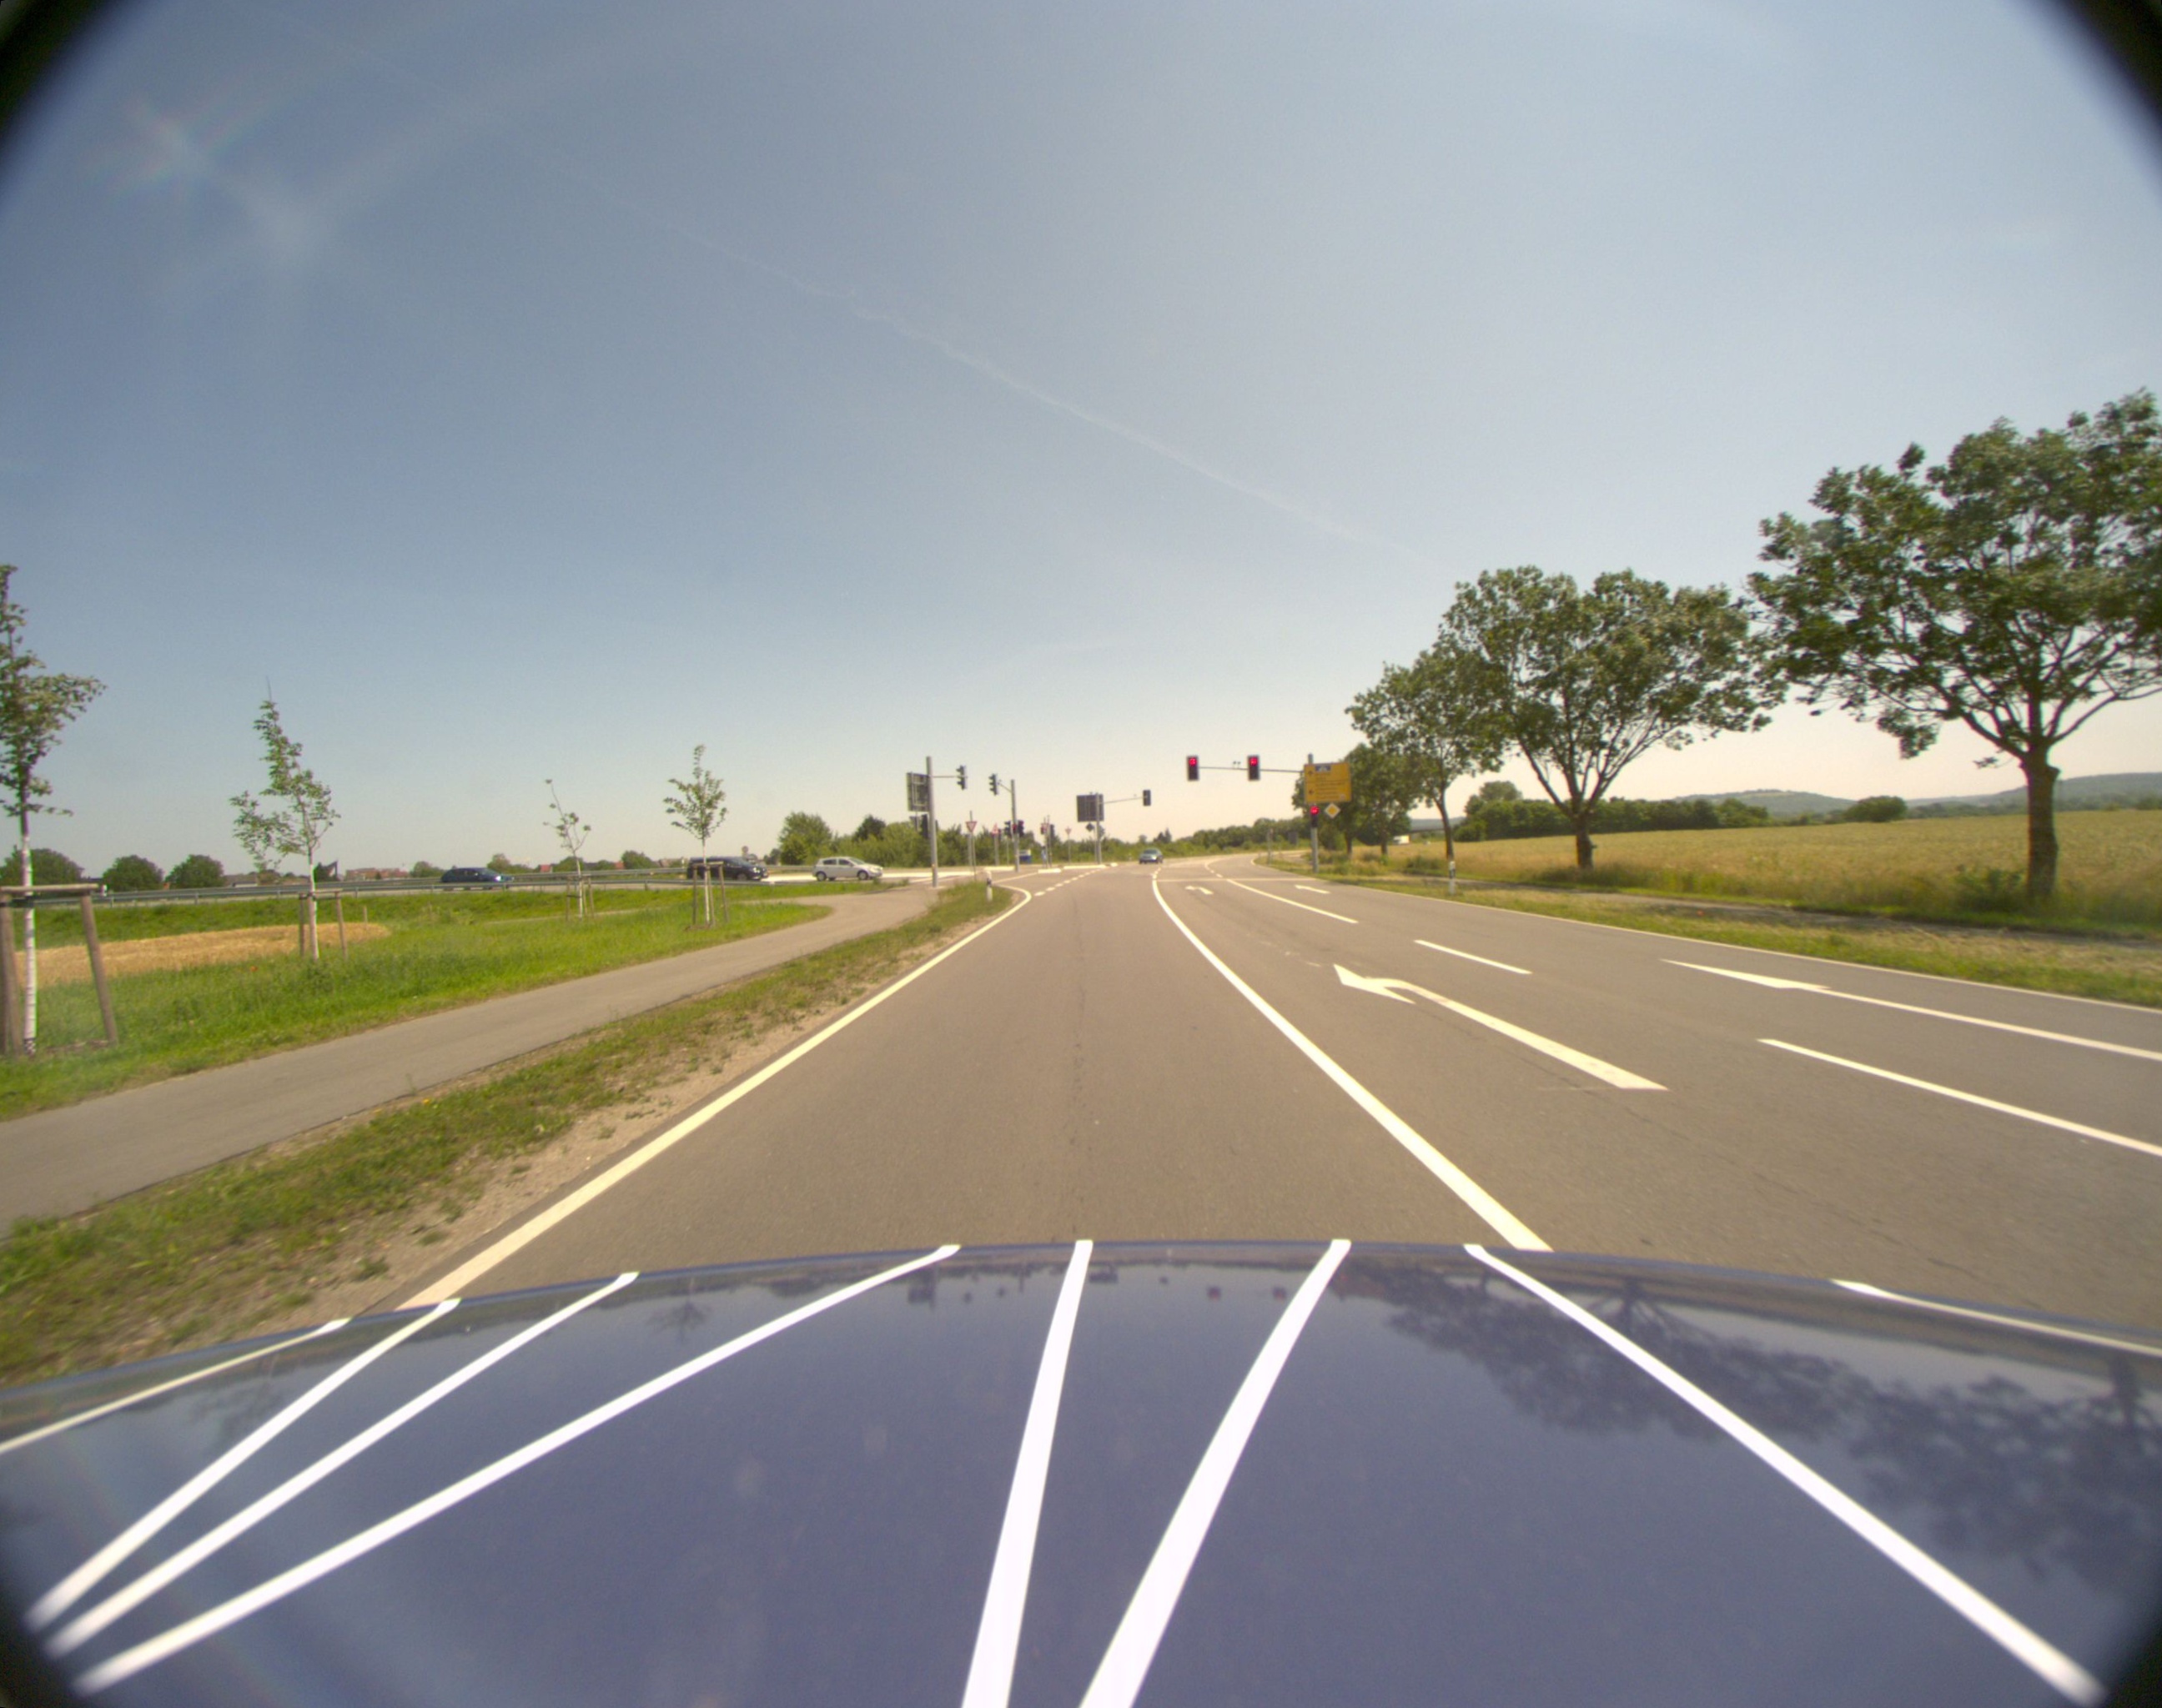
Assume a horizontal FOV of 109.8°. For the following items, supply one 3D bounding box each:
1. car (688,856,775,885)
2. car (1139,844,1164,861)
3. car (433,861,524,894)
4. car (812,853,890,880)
[{"bbox_3d":[-21.619,0.998,47.094,4.521,1.631,1.814,-1,2,6],"label":"car"},{"bbox_3d":[6.628,-0.136,71.123,1.655,1.557,4.004,-1,0,14],"label":"car"},{"bbox_3d":[-37.835,1.469,47.829,3.920,1.798,1.918,-3,1,-11],"label":"car"},{"bbox_3d":[-14.006,0.746,46.384,4.147,1.451,1.661,-2,1,6],"label":"car"}]
